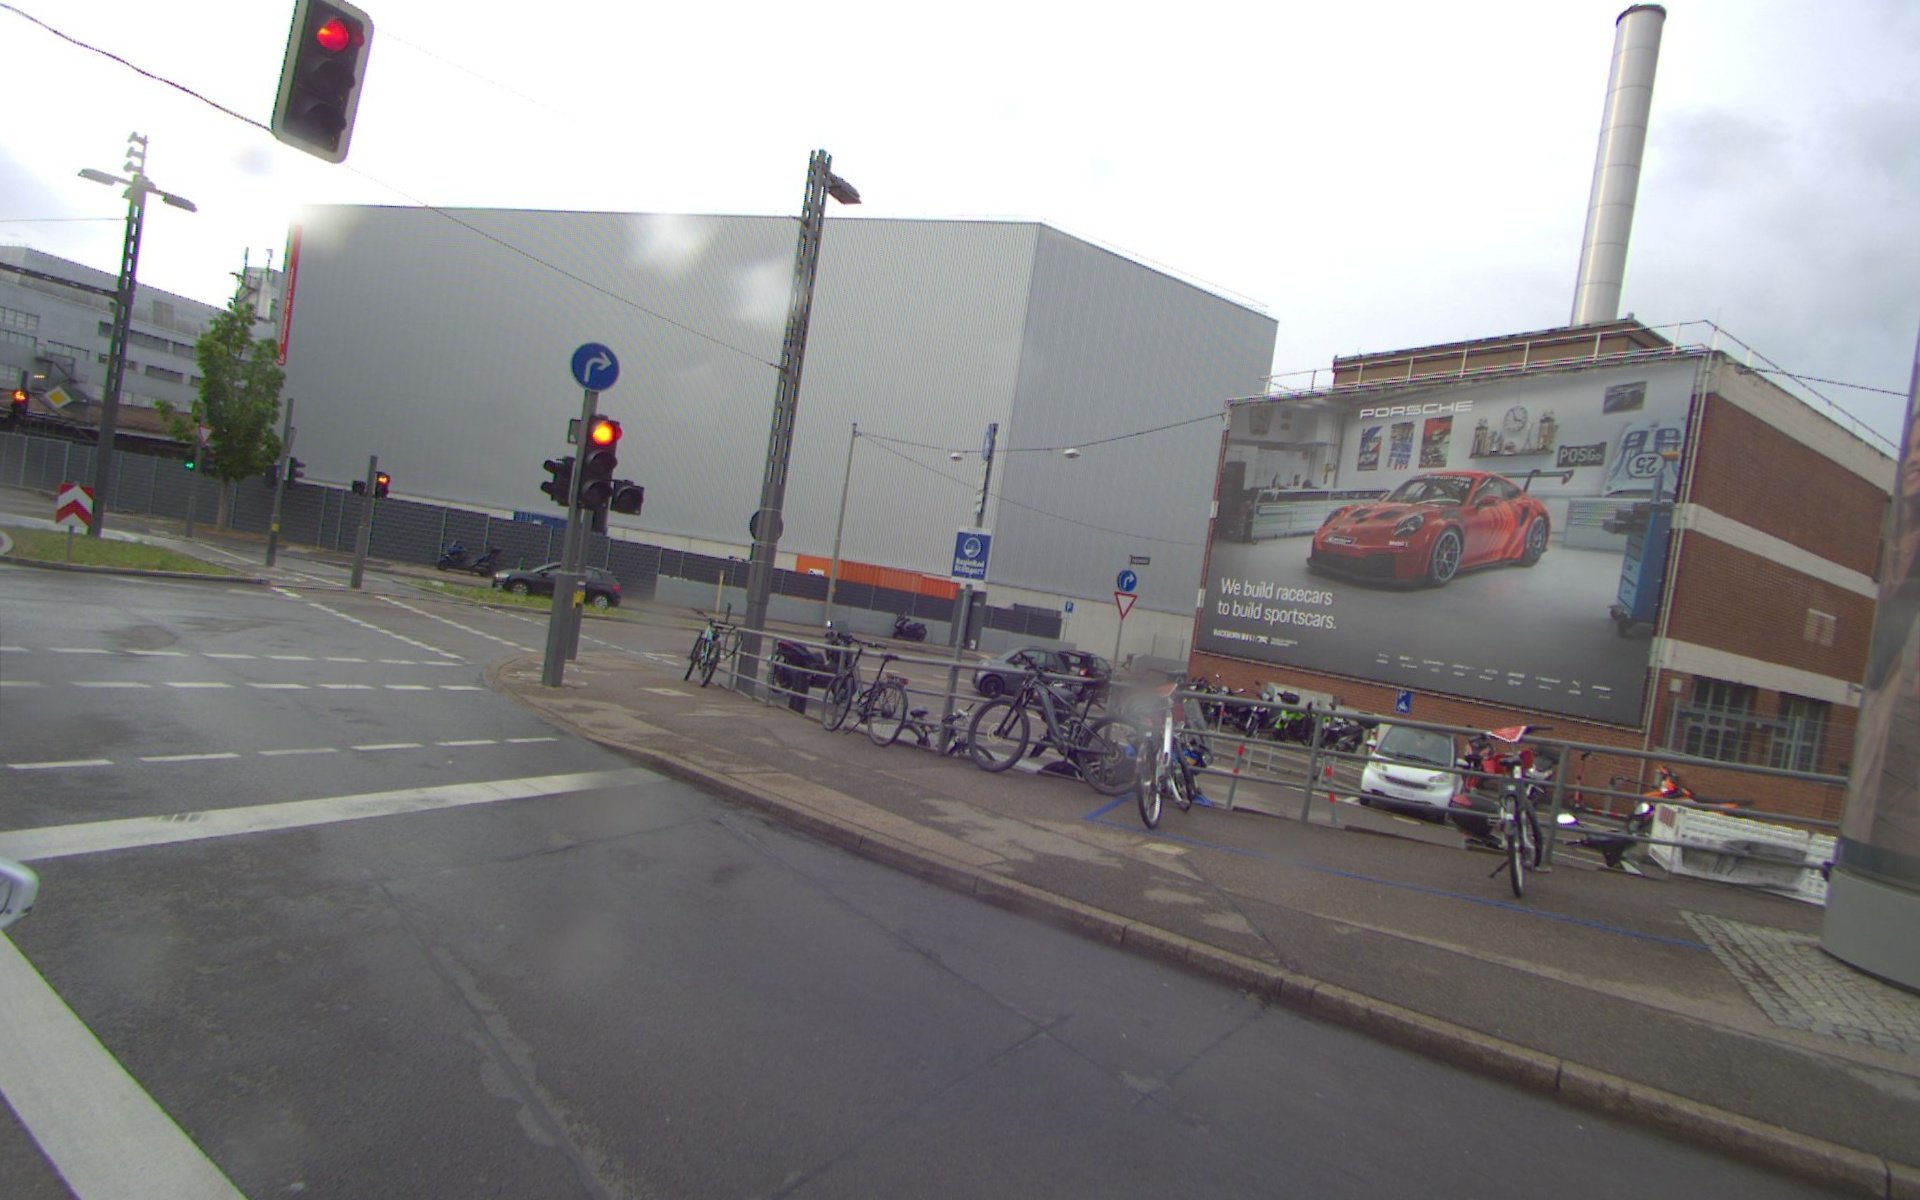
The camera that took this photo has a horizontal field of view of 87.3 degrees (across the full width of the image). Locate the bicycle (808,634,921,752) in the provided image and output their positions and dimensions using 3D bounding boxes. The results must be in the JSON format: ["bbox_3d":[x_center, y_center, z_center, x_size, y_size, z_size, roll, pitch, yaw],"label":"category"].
[{"bbox_3d":[-1.108,1.012,11.333,0.344,1.097,1.728,7,-1,-35],"label":"bicycle"}]

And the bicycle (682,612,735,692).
[{"bbox_3d":[-4.082,0.806,16.226,0.416,1.143,2.064,7,-2,-22],"label":"bicycle"}]

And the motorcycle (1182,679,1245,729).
[{"bbox_3d":[7.153,2.933,28.378,1.631,1.194,0.670,8,-2,-30],"label":"motorcycle"}]

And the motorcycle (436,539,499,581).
[{"bbox_3d":[-19.811,-1.599,40.500,2.082,1.326,0.649,10,0,-33],"label":"motorcycle"}]

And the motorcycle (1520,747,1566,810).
[{"bbox_3d":[12.364,3.759,21.329,0.576,1.165,1.717,6,-2,36],"label":"motorcycle"}]

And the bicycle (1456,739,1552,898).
[{"bbox_3d":[4.055,1.555,7.447,0.414,0.933,1.613,8,0,32],"label":"bicycle"}]

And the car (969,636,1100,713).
[{"bbox_3d":[1.988,2.012,27.386,3.190,1.521,1.624,9,0,-4],"label":"car"}]

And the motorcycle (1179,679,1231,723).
[{"bbox_3d":[7.460,3.079,30.675,0.538,1.123,1.639,8,-2,-25],"label":"motorcycle"}]

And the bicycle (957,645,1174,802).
[{"bbox_3d":[0.980,1.150,9.713,1.981,1.189,0.400,6,0,30],"label":"bicycle"}]

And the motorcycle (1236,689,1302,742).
[{"bbox_3d":[8.099,3.027,26.333,1.695,1.194,0.541,8,-2,-30],"label":"motorcycle"}]

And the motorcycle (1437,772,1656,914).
[{"bbox_3d":[5.058,2.085,8.757,1.512,0.901,0.403,6,0,19],"label":"motorcycle"}]

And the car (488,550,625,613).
[{"bbox_3d":[-13.479,-0.602,33.626,3.958,1.442,1.707,9,-1,-30],"label":"car"}]

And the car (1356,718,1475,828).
[{"bbox_3d":[8.577,3.108,18.765,1.541,1.506,3.996,8,-1,29],"label":"car"}]

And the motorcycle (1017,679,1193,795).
[{"bbox_3d":[1.459,1.375,10.348,1.722,0.906,0.545,6,-1,44],"label":"motorcycle"}]

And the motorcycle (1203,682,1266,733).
[{"bbox_3d":[7.413,2.918,27.177,1.631,1.194,0.541,8,-2,-30],"label":"motorcycle"}]

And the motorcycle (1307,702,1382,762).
[{"bbox_3d":[9.321,3.212,24.369,1.788,1.253,0.540,8,1,-30],"label":"motorcycle"}]

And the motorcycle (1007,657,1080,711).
[{"bbox_3d":[2.132,2.150,25.611,1.702,1.159,0.492,8,-2,-24],"label":"motorcycle"}]

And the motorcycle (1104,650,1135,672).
[{"bbox_3d":[10.159,3.876,64.065,0.622,1.088,1.906,8,0,-38],"label":"motorcycle"}]

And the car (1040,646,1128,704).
[{"bbox_3d":[4.137,2.491,33.274,1.530,1.510,2.745,11,0,37],"label":"car"}]

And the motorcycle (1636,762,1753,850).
[{"bbox_3d":[14.126,3.948,19.389,1.639,1.349,0.524,6,-1,21],"label":"motorcycle"}]

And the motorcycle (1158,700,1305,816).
[{"bbox_3d":[2.637,1.512,9.781,1.241,0.901,0.434,6,0,23],"label":"motorcycle"}]

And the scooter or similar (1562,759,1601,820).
[{"bbox_3d":[12.913,3.918,20.883,0.496,1.109,1.635,6,-2,36],"label":"scooter or similar"}]

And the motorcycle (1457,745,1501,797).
[{"bbox_3d":[11.310,3.696,21.889,0.533,0.984,1.613,6,-2,36],"label":"motorcycle"}]

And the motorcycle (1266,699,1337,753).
[{"bbox_3d":[8.492,3.136,25.010,1.789,1.132,0.474,8,-2,-28],"label":"motorcycle"}]

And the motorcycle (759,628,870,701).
[{"bbox_3d":[-2.617,1.202,18.376,0.481,1.158,2.086,6,-3,41],"label":"motorcycle"}]

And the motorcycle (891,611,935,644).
[{"bbox_3d":[-2.410,1.410,51.873,2.082,1.393,0.649,10,0,-33],"label":"motorcycle"}]

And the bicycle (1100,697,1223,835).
[{"bbox_3d":[1.727,1.328,8.405,0.414,0.973,1.744,6,-1,29],"label":"bicycle"}]

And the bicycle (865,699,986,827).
[{"bbox_3d":[-0.420,1.759,11.137,0.344,1.097,1.728,7,-1,-35],"label":"bicycle"}]

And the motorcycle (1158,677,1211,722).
[{"bbox_3d":[6.620,2.923,29.712,0.538,1.133,1.593,8,-2,-25],"label":"motorcycle"}]

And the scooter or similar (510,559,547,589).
[{"bbox_3d":[-17.856,-1.059,41.618,1.247,1.041,0.385,9,0,0],"label":"scooter or similar"}]

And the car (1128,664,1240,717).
[{"bbox_3d":[8.236,3.315,36.824,4.070,1.460,1.554,9,-2,-35],"label":"car"}]

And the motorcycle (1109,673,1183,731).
[{"bbox_3d":[4.461,2.444,24.286,0.539,1.123,1.850,8,-2,-32],"label":"motorcycle"}]
